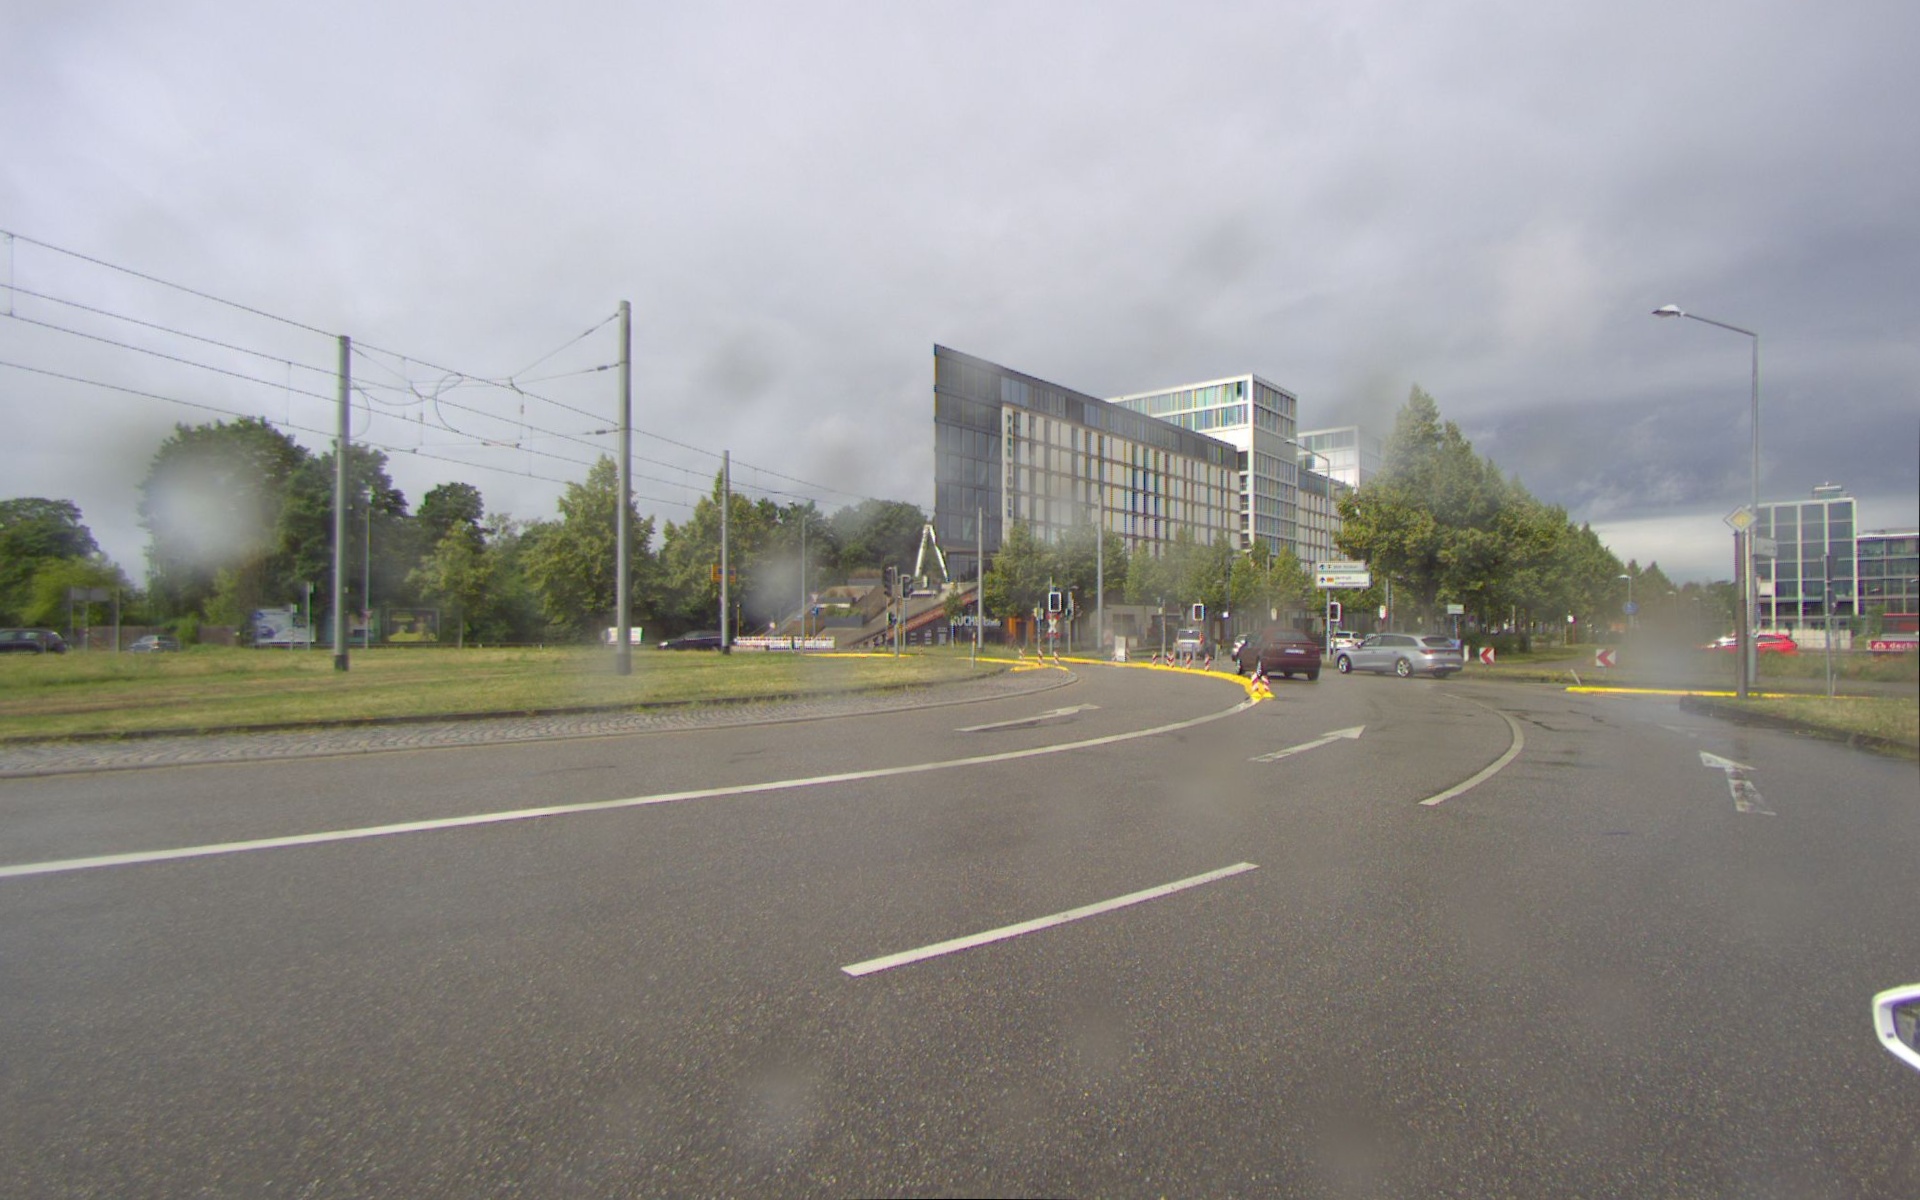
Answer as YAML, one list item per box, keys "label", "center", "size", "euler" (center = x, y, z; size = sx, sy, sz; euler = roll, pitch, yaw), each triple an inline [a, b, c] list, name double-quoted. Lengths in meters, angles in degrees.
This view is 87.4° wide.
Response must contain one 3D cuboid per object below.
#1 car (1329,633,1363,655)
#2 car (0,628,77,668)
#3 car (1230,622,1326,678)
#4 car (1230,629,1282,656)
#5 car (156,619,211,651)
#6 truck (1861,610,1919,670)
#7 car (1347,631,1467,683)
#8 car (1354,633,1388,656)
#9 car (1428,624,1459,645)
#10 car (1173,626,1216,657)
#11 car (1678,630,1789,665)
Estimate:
- label: "car"
  center: [28.610, 3.227, 74.436]
  size: [1.476, 1.530, 3.487]
  euler: [0, -1, 37]
- label: "car"
  center: [-41.381, 2.102, 44.182]
  size: [3.794, 1.694, 1.843]
  euler: [2, -2, -43]
- label: "car"
  center: [9.161, 1.443, 29.214]
  size: [1.686, 1.481, 4.002]
  euler: [-1, -3, 3]
- label: "car"
  center: [15.495, 2.186, 52.478]
  size: [1.673, 1.385, 3.837]
  euler: [-1, -2, 31]
- label: "car"
  center: [-52.090, 2.322, 67.390]
  size: [3.938, 2.040, 1.992]
  euler: [-1, 0, 38]
- label: "truck"
  center: [40.065, 1.599, 42.368]
  size: [6.053, 2.241, 2.369]
  euler: [-2, 0, -42]
- label: "car"
  center: [14.557, 1.831, 32.918]
  size: [1.576, 1.581, 3.534]
  euler: [0, -2, -20]
- label: "car"
  center: [29.063, 3.144, 70.946]
  size: [1.476, 1.530, 3.488]
  euler: [0, -1, 36]
- label: "car"
  center: [47.594, 3.362, 98.883]
  size: [1.969, 2.040, 3.983]
  euler: [-1, -2, 39]
- label: "car"
  center: [12.565, 2.192, 53.644]
  size: [1.521, 1.581, 3.497]
  euler: [-1, -1, 26]
- label: "car"
  center: [36.877, 2.241, 48.026]
  size: [4.126, 1.531, 1.850]
  euler: [-1, 0, 38]
